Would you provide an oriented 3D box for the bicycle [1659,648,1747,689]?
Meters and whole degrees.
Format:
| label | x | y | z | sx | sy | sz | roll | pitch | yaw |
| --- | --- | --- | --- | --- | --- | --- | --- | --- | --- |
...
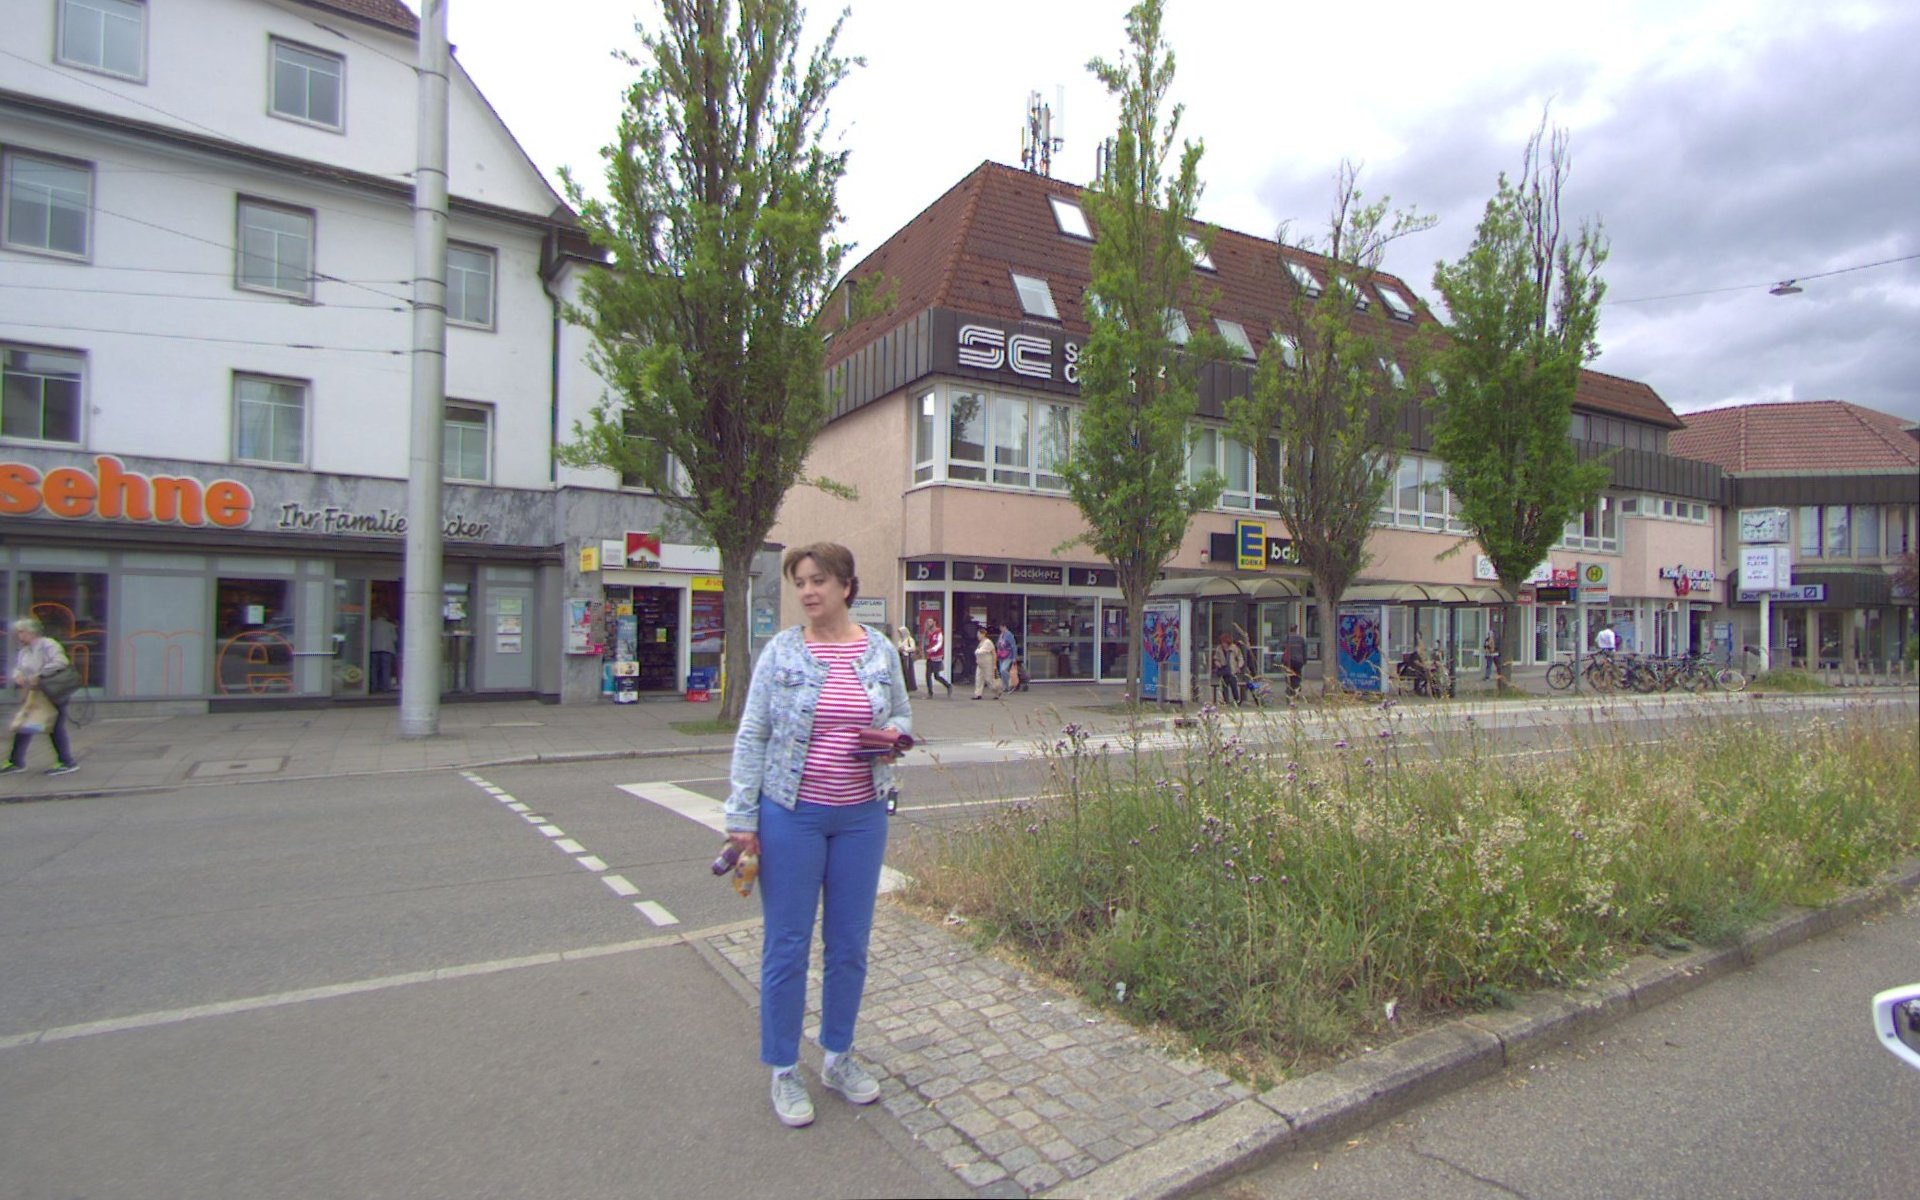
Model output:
| label | x | y | z | sx | sy | sz | roll | pitch | yaw |
| --- | --- | --- | --- | --- | --- | --- | --- | --- | --- |
| bicycle | 21.795 | 1.999 | 29.497 | 0.643 | 1.105 | 2.003 | 1 | -1 | -38 |

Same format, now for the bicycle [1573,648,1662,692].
| label | x | y | z | sx | sy | sz | roll | pitch | yaw |
| --- | --- | --- | --- | --- | --- | --- | --- | --- | --- |
| bicycle | 18.293 | 1.936 | 27.995 | 0.642 | 1.105 | 2.006 | 1 | -1 | -33 |

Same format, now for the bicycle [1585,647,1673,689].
| label | x | y | z | sx | sy | sz | roll | pitch | yaw |
| --- | --- | --- | --- | --- | --- | --- | --- | --- | --- |
| bicycle | 19.088 | 1.928 | 28.718 | 0.643 | 1.105 | 2.003 | 1 | -1 | -38 |

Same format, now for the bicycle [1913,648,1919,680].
| label | x | y | z | sx | sy | sz | roll | pitch | yaw |
| --- | --- | --- | --- | --- | --- | --- | --- | --- | --- |
| bicycle | 34.174 | 2.236 | 34.527 | 0.643 | 1.105 | 2.003 | 1 | -1 | -38 |

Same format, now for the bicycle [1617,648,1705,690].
| label | x | y | z | sx | sy | sz | roll | pitch | yaw |
| --- | --- | --- | --- | --- | --- | --- | --- | --- | --- |
| bicycle | 20.254 | 1.980 | 29.063 | 0.643 | 1.105 | 2.003 | 1 | -1 | -38 |

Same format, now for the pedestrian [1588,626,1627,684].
| label | x | y | z | sx | sy | sz | roll | pitch | yaw |
| --- | --- | --- | --- | --- | --- | --- | --- | --- | --- |
| pedestrian | 20.800 | 1.765 | 32.260 | 0.747 | 1.788 | 0.722 | 1 | 2 | -31 |

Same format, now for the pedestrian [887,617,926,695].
| label | x | y | z | sx | sy | sz | roll | pitch | yaw |
| --- | --- | --- | --- | --- | --- | --- | --- | --- | --- |
| pedestrian | -1.184 | 1.211 | 22.053 | 0.608 | 1.656 | 0.583 | 1 | 2 | -31 |

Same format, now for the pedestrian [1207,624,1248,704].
| label | x | y | z | sx | sy | sz | roll | pitch | yaw |
| --- | --- | --- | --- | --- | --- | --- | --- | --- | --- |
| pedestrian | 5.777 | 1.358 | 21.715 | 0.580 | 1.674 | 0.710 | 1 | 0 | 43 |

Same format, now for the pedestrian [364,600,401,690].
| label | x | y | z | sx | sy | sz | roll | pitch | yaw |
| --- | --- | --- | --- | --- | --- | --- | --- | --- | --- |
| pedestrian | -10.972 | 0.839 | 19.086 | 0.581 | 1.656 | 0.610 | 1 | 2 | -31 |

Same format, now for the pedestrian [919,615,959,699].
| label | x | y | z | sx | sy | sz | roll | pitch | yaw |
| --- | --- | --- | --- | --- | --- | --- | --- | --- | --- |
| pedestrian | -0.446 | 1.212 | 21.603 | 0.608 | 1.735 | 0.583 | 1 | 2 | -31 |

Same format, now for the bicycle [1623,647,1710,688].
| label | x | y | z | sx | sy | sz | roll | pitch | yaw |
| --- | --- | --- | --- | --- | --- | --- | --- | --- | --- |
| bicycle | 20.768 | 1.967 | 29.559 | 0.643 | 1.105 | 2.003 | 1 | -1 | -38 |

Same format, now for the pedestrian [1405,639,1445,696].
| label | x | y | z | sx | sy | sz | roll | pitch | yaw |
| --- | --- | --- | --- | --- | --- | --- | --- | --- | --- |
| pedestrian | 11.722 | 1.679 | 25.345 | 0.580 | 1.382 | 0.709 | 0 | 0 | -27 |

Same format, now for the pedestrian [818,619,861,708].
| label | x | y | z | sx | sy | sz | roll | pitch | yaw |
| --- | --- | --- | --- | --- | --- | --- | --- | --- | --- |
| pedestrian | -2.337 | 1.206 | 19.440 | 0.608 | 1.656 | 0.583 | 1 | 2 | -31 |

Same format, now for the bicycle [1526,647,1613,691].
| label | x | y | z | sx | sy | sz | roll | pitch | yaw |
| --- | --- | --- | --- | --- | --- | --- | --- | --- | --- |
| bicycle | 17.123 | 1.921 | 28.247 | 0.644 | 1.105 | 1.999 | 2 | -1 | -42 |

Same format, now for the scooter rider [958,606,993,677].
| label | x | y | z | sx | sy | sz | roll | pitch | yaw |
| --- | --- | --- | --- | --- | --- | --- | --- | --- | --- |
| scooter rider | 0.386 | 1.030 | 25.141 | 0.581 | 1.735 | 0.609 | 1 | 2 | -32 |

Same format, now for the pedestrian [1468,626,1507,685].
| label | x | y | z | sx | sy | sz | roll | pitch | yaw |
| --- | --- | --- | --- | --- | --- | --- | --- | --- | --- |
| pedestrian | 16.578 | 1.727 | 31.575 | 0.747 | 1.788 | 0.722 | 1 | 2 | -31 |

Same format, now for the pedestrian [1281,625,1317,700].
| label | x | y | z | sx | sy | sz | roll | pitch | yaw |
| --- | --- | --- | --- | --- | --- | --- | --- | --- | --- |
| pedestrian | 7.891 | 1.439 | 23.383 | 0.579 | 1.674 | 0.711 | 1 | 0 | 38 |

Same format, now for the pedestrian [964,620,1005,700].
| label | x | y | z | sx | sy | sz | roll | pitch | yaw |
| --- | --- | --- | --- | --- | --- | --- | --- | --- | --- |
| pedestrian | 0.525 | 1.282 | 21.627 | 0.608 | 1.656 | 0.583 | 1 | 2 | -31 |

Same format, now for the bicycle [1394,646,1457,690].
| label | x | y | z | sx | sy | sz | roll | pitch | yaw |
| --- | --- | --- | --- | --- | --- | --- | --- | --- | --- |
| bicycle | 12.345 | 1.780 | 26.635 | 1.909 | 1.105 | 0.531 | 2 | 0 | -31 |

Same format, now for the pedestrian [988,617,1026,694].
| label | x | y | z | sx | sy | sz | roll | pitch | yaw |
| --- | --- | --- | --- | --- | --- | --- | --- | --- | --- |
| pedestrian | 1.090 | 1.270 | 23.184 | 0.608 | 1.735 | 0.583 | 1 | 2 | -31 |

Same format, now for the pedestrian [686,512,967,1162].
| label | x | y | z | sx | sy | sz | roll | pitch | yaw |
| --- | --- | --- | --- | --- | --- | --- | --- | --- | --- |
| pedestrian | -0.395 | 0.611 | 2.962 | 0.657 | 1.656 | 0.499 | 1 | -1 | -35 |

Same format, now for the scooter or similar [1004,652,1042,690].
| label | x | y | z | sx | sy | sz | roll | pitch | yaw |
| --- | --- | --- | --- | --- | --- | --- | --- | --- | --- |
| scooter or similar | 1.491 | 1.665 | 23.739 | 0.694 | 0.860 | 0.589 | 1 | -1 | -29 |

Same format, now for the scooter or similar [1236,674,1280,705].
| label | x | y | z | sx | sy | sz | roll | pitch | yaw |
| --- | --- | --- | --- | --- | --- | --- | --- | --- | --- |
| scooter or similar | 6.355 | 1.903 | 21.440 | 0.694 | 0.609 | 0.589 | 1 | -1 | -29 |

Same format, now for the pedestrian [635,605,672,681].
| label | x | y | z | sx | sy | sz | roll | pitch | yaw |
| --- | --- | --- | --- | --- | --- | --- | --- | --- | --- |
| pedestrian | -6.948 | 0.964 | 22.769 | 0.583 | 1.656 | 0.607 | 0 | 3 | -42 |

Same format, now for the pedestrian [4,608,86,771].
| label | x | y | z | sx | sy | sz | roll | pitch | yaw |
| --- | --- | --- | --- | --- | --- | --- | --- | --- | --- |
| pedestrian | -9.906 | 0.936 | 10.894 | 0.610 | 1.656 | 0.694 | 0 | 2 | -39 |
